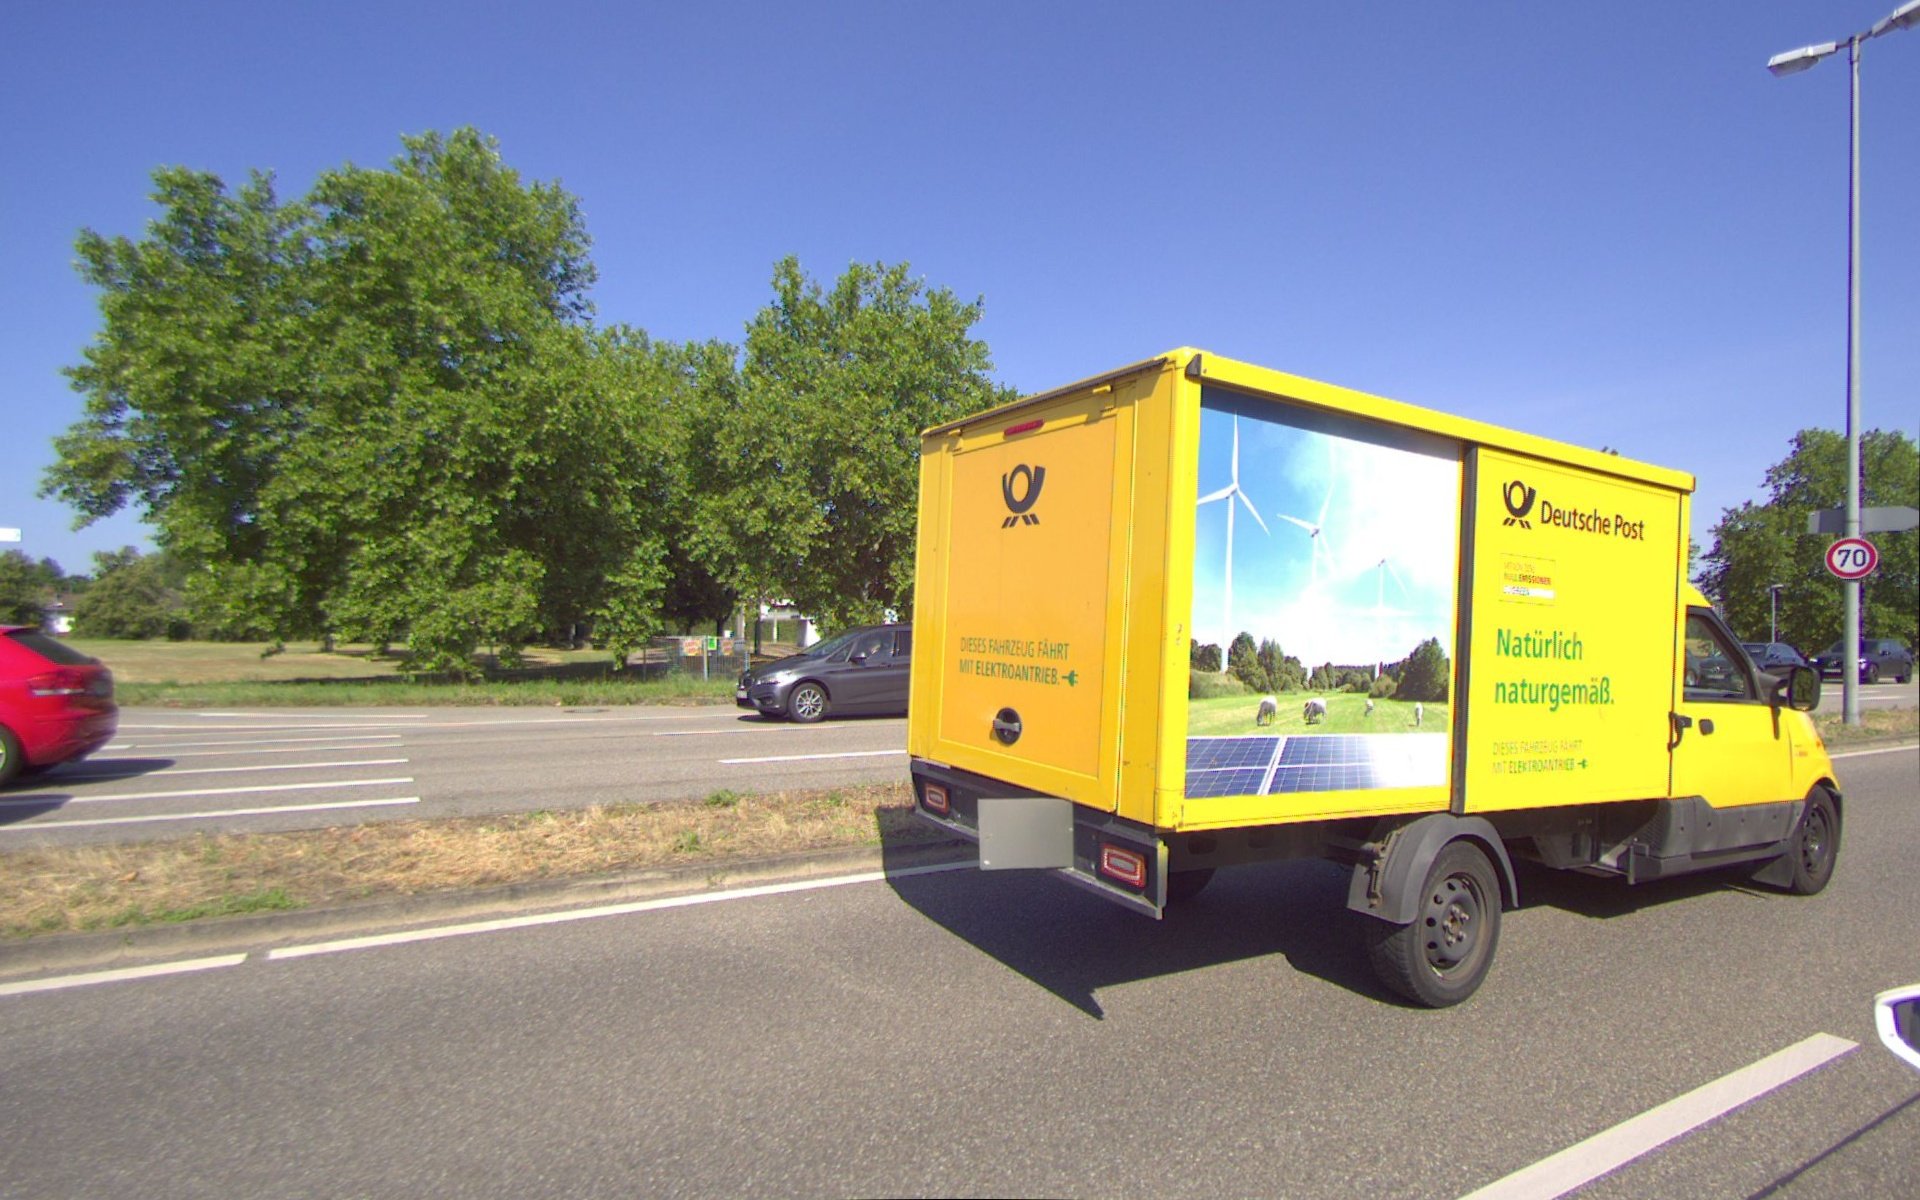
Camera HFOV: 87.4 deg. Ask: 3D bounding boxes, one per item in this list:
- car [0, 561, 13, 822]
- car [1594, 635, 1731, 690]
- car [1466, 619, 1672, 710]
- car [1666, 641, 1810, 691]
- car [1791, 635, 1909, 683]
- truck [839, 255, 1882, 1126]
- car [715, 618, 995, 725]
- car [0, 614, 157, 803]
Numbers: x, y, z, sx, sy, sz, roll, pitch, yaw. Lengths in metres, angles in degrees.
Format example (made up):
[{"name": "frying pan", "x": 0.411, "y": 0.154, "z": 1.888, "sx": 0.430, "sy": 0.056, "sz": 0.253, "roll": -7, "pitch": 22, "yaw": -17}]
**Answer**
[{"name": "car", "x": -8.019, "y": 0.530, "z": 4.954, "sx": 4.455, "sy": 1.773, "sz": 1.972, "roll": 2, "pitch": -3, "yaw": -30}, {"name": "car", "x": 21.705, "y": 1.904, "z": 30.995, "sx": 4.355, "sy": 1.565, "sz": 1.853, "roll": 2, "pitch": -3, "yaw": -31}, {"name": "car", "x": 13.335, "y": 1.364, "z": 21.949, "sx": 4.436, "sy": 1.803, "sz": 1.972, "roll": 2, "pitch": -2, "yaw": -29}, {"name": "car", "x": 26.042, "y": 2.169, "z": 33.599, "sx": 4.624, "sy": 1.549, "sz": 2.064, "roll": 2, "pitch": -2, "yaw": -27}, {"name": "car", "x": 33.377, "y": 2.197, "z": 37.646, "sx": 4.501, "sy": 1.682, "sz": 1.973, "roll": 2, "pitch": -2, "yaw": -30}, {"name": "truck", "x": 2.481, "y": 0.344, "z": 5.338, "sx": 5.852, "sy": 2.490, "sz": 2.100, "roll": 2, "pitch": -1, "yaw": -32}, {"name": "car", "x": -1.793, "y": 1.221, "z": 17.553, "sx": 4.438, "sy": 1.643, "sz": 2.061, "roll": 2, "pitch": -4, "yaw": -31}, {"name": "car", "x": -9.253, "y": 0.849, "z": 8.163, "sx": 3.952, "sy": 1.504, "sz": 1.807, "roll": 2, "pitch": -2, "yaw": -30}]
